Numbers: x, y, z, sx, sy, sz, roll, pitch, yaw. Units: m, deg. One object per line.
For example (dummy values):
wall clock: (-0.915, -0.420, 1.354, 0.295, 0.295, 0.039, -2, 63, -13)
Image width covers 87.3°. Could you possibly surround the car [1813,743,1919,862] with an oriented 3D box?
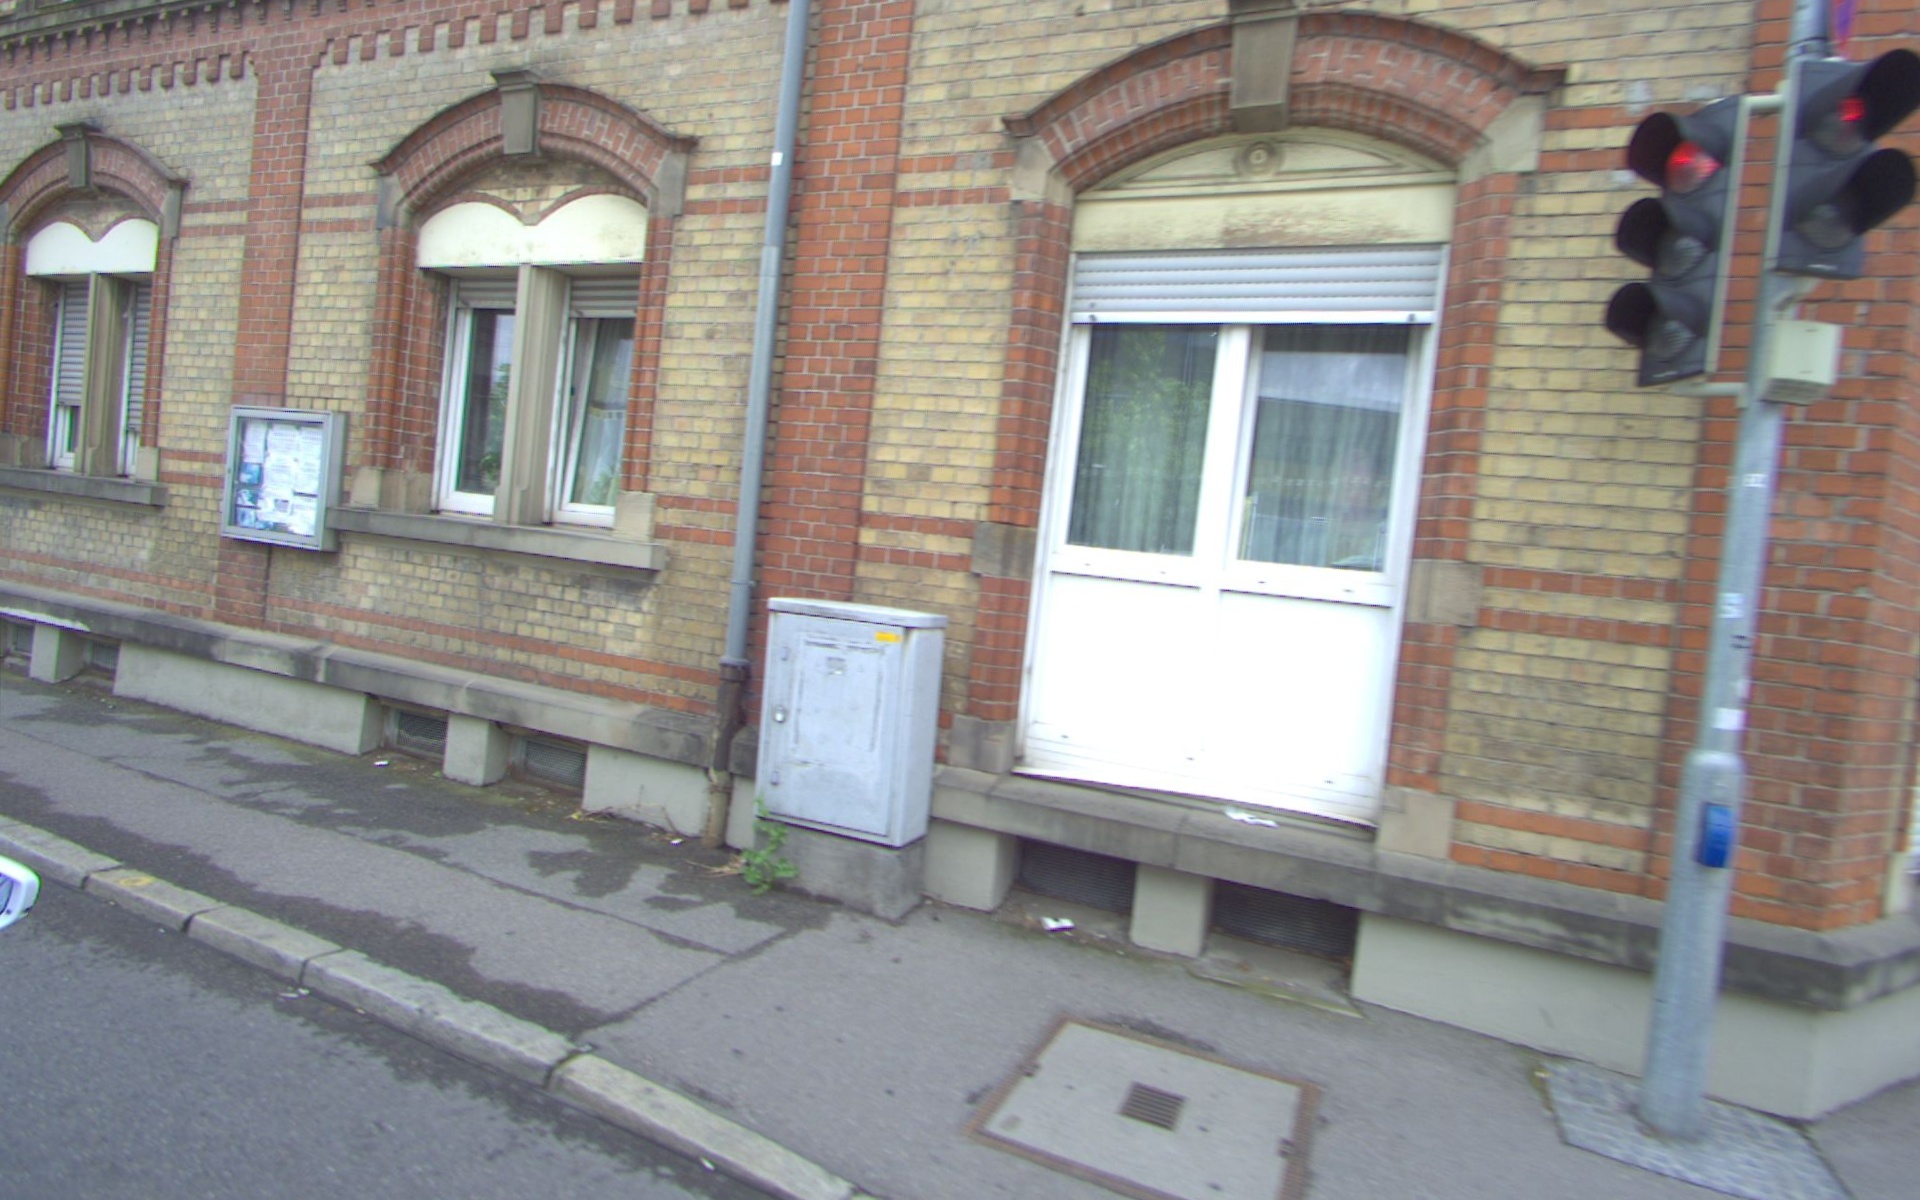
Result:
car: (14.531, 3.080, 14.016, 1.822, 1.493, 3.973, 8, -2, 2)
